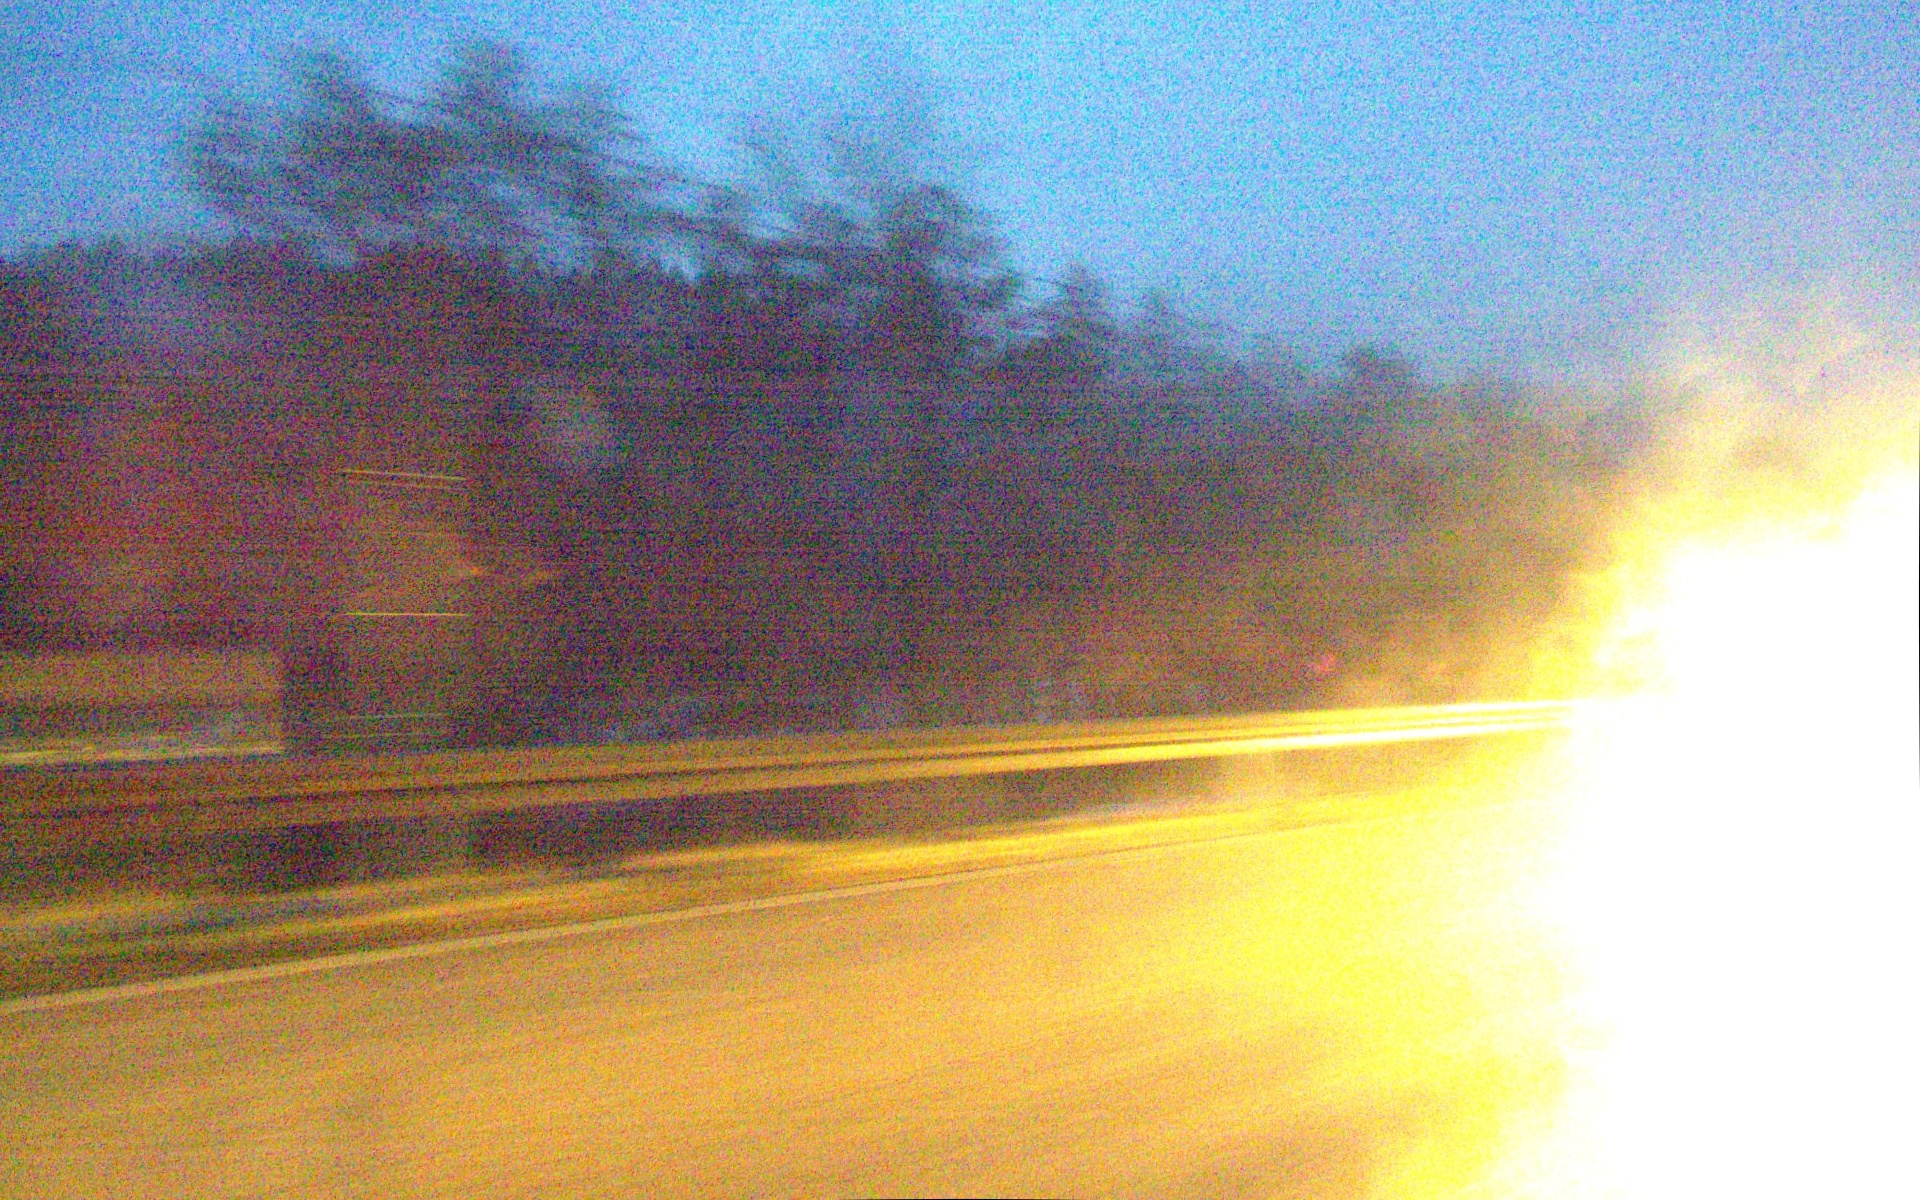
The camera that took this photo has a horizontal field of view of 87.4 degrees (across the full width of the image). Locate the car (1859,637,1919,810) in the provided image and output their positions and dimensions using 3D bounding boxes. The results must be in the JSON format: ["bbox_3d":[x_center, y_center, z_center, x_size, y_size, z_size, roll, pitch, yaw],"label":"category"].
[{"bbox_3d":[10.186,1.096,9.372,3.666,1.490,1.707,0,-1,-31],"label":"car"}]
